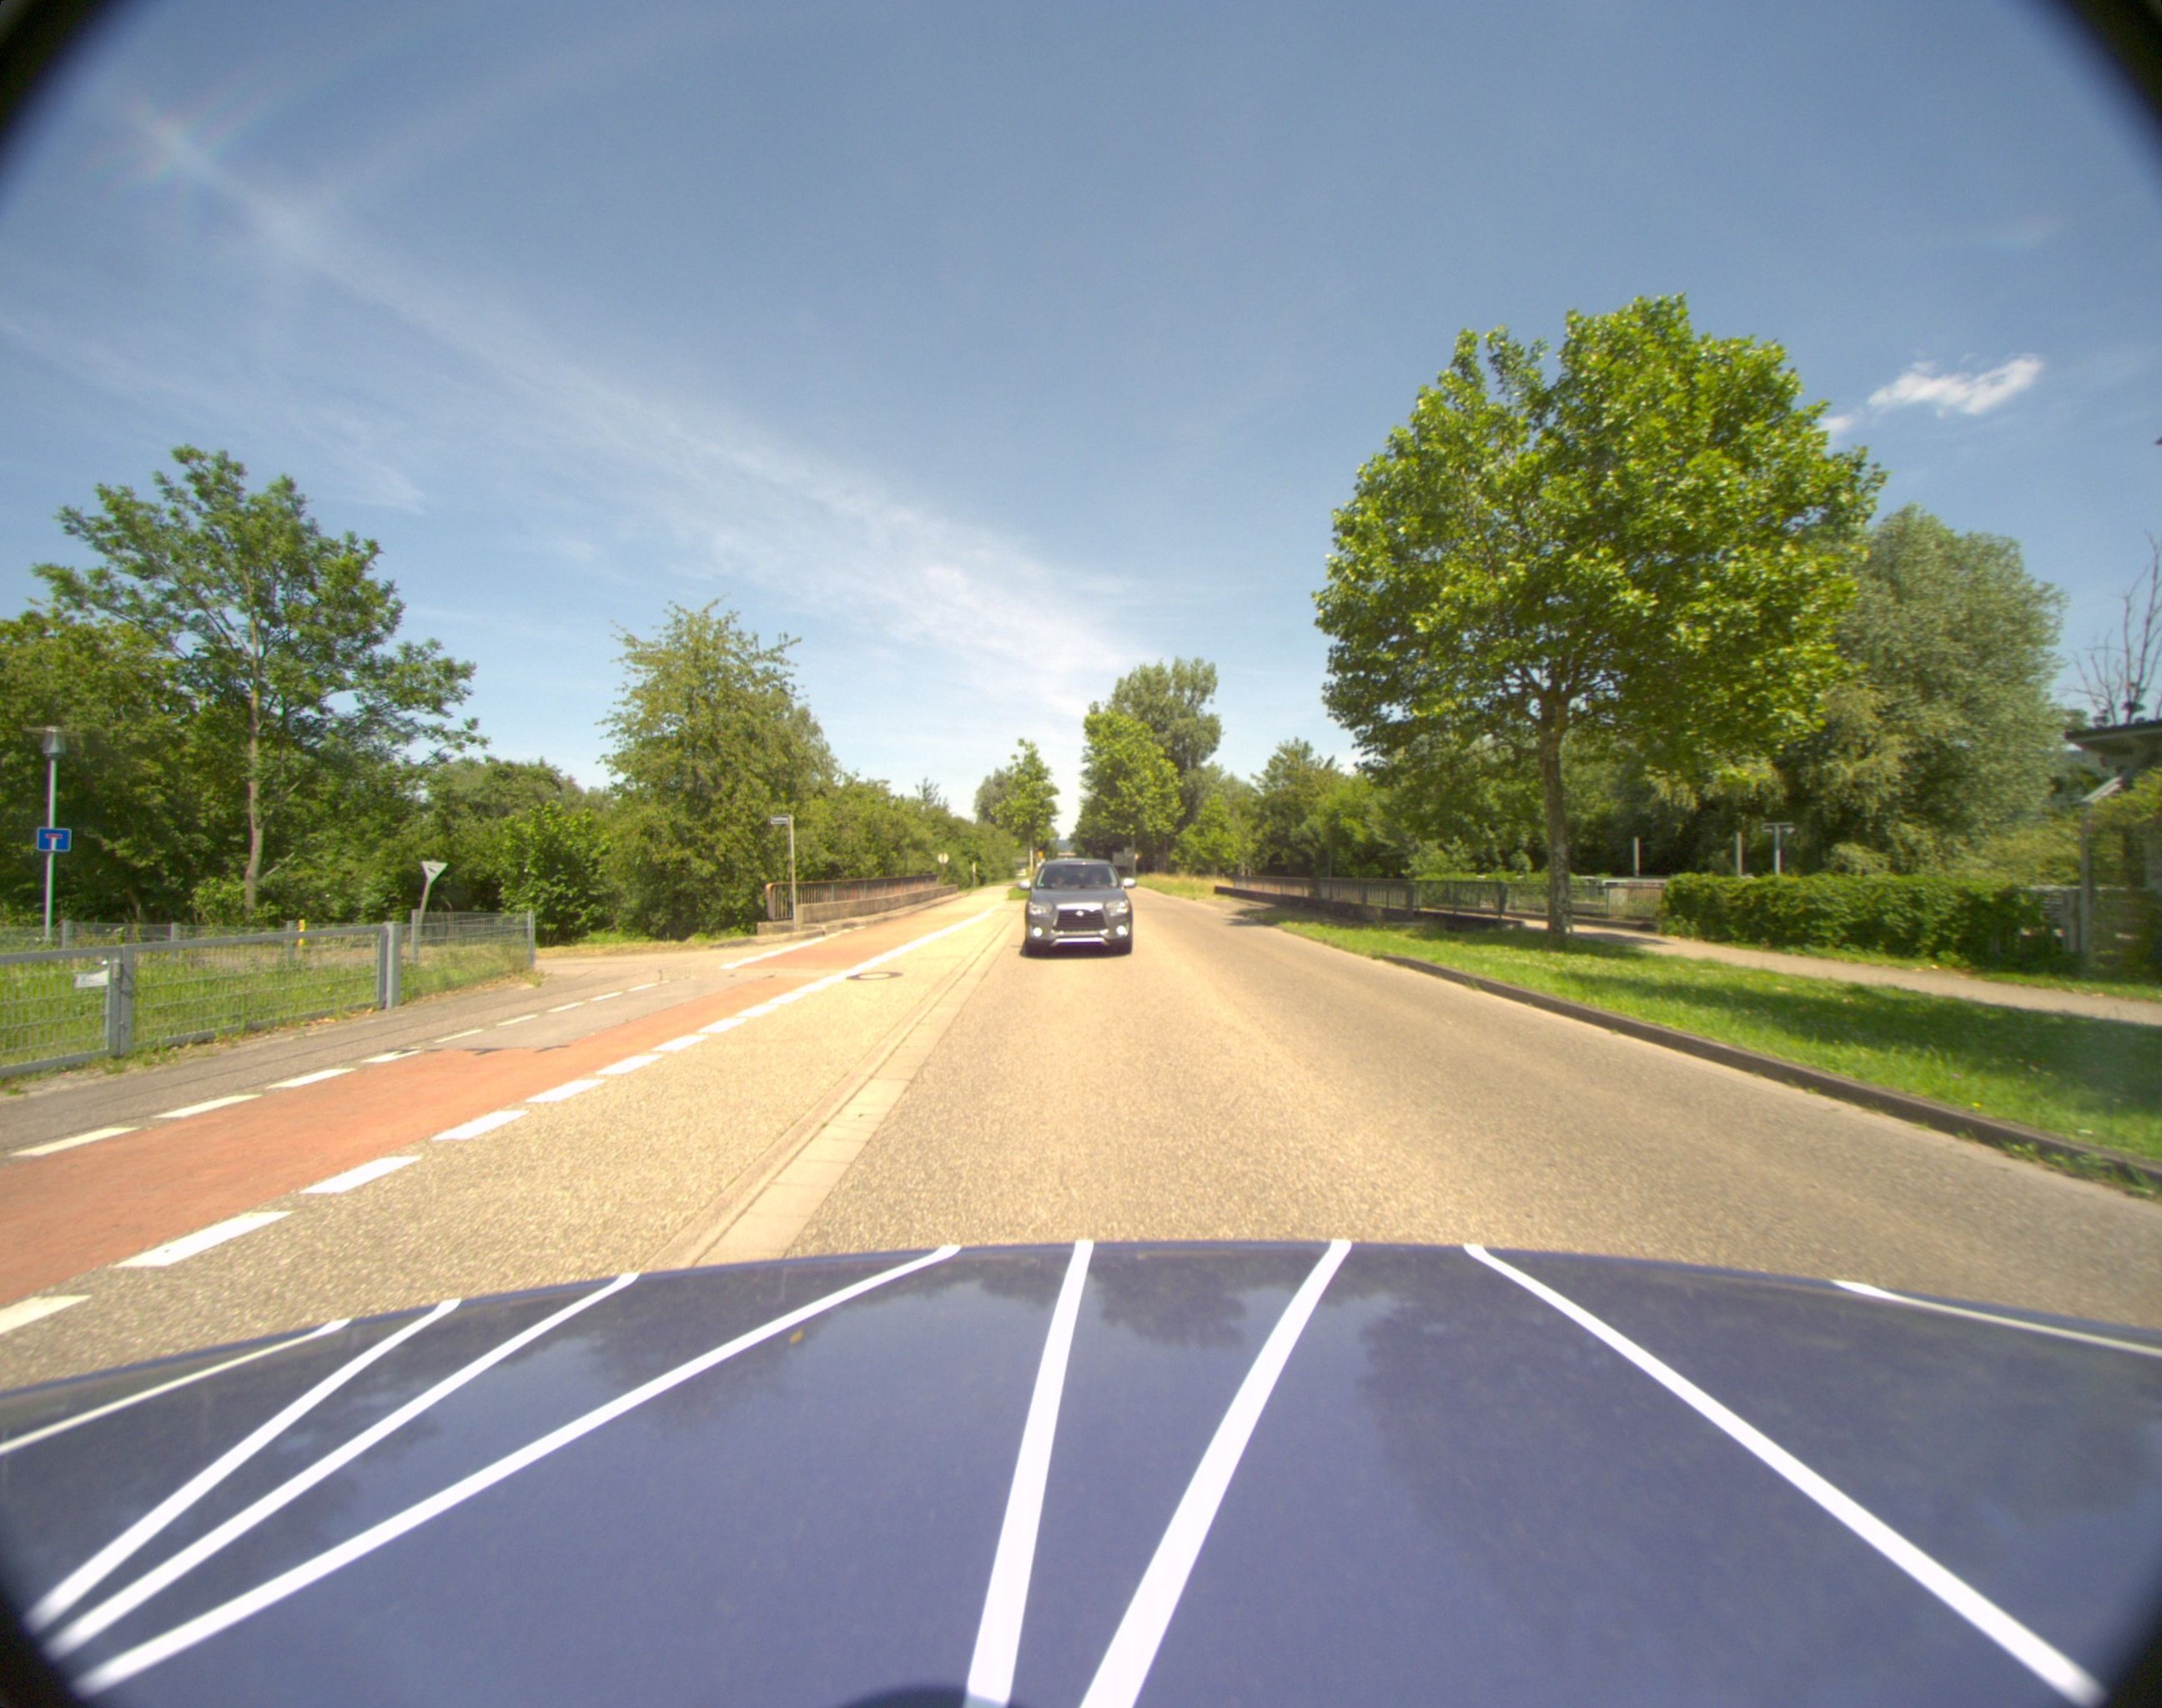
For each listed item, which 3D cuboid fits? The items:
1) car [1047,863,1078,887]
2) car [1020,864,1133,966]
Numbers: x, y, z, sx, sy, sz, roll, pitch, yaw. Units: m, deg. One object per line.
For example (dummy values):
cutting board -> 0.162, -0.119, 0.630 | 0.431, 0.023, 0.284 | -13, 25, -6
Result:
car -> -1.149, 1.227, 45.646 | 1.676, 1.342, 3.830 | -1, 0, -3
car -> -0.118, 0.973, 14.052 | 1.750, 1.525, 4.524 | 0, 0, -1
